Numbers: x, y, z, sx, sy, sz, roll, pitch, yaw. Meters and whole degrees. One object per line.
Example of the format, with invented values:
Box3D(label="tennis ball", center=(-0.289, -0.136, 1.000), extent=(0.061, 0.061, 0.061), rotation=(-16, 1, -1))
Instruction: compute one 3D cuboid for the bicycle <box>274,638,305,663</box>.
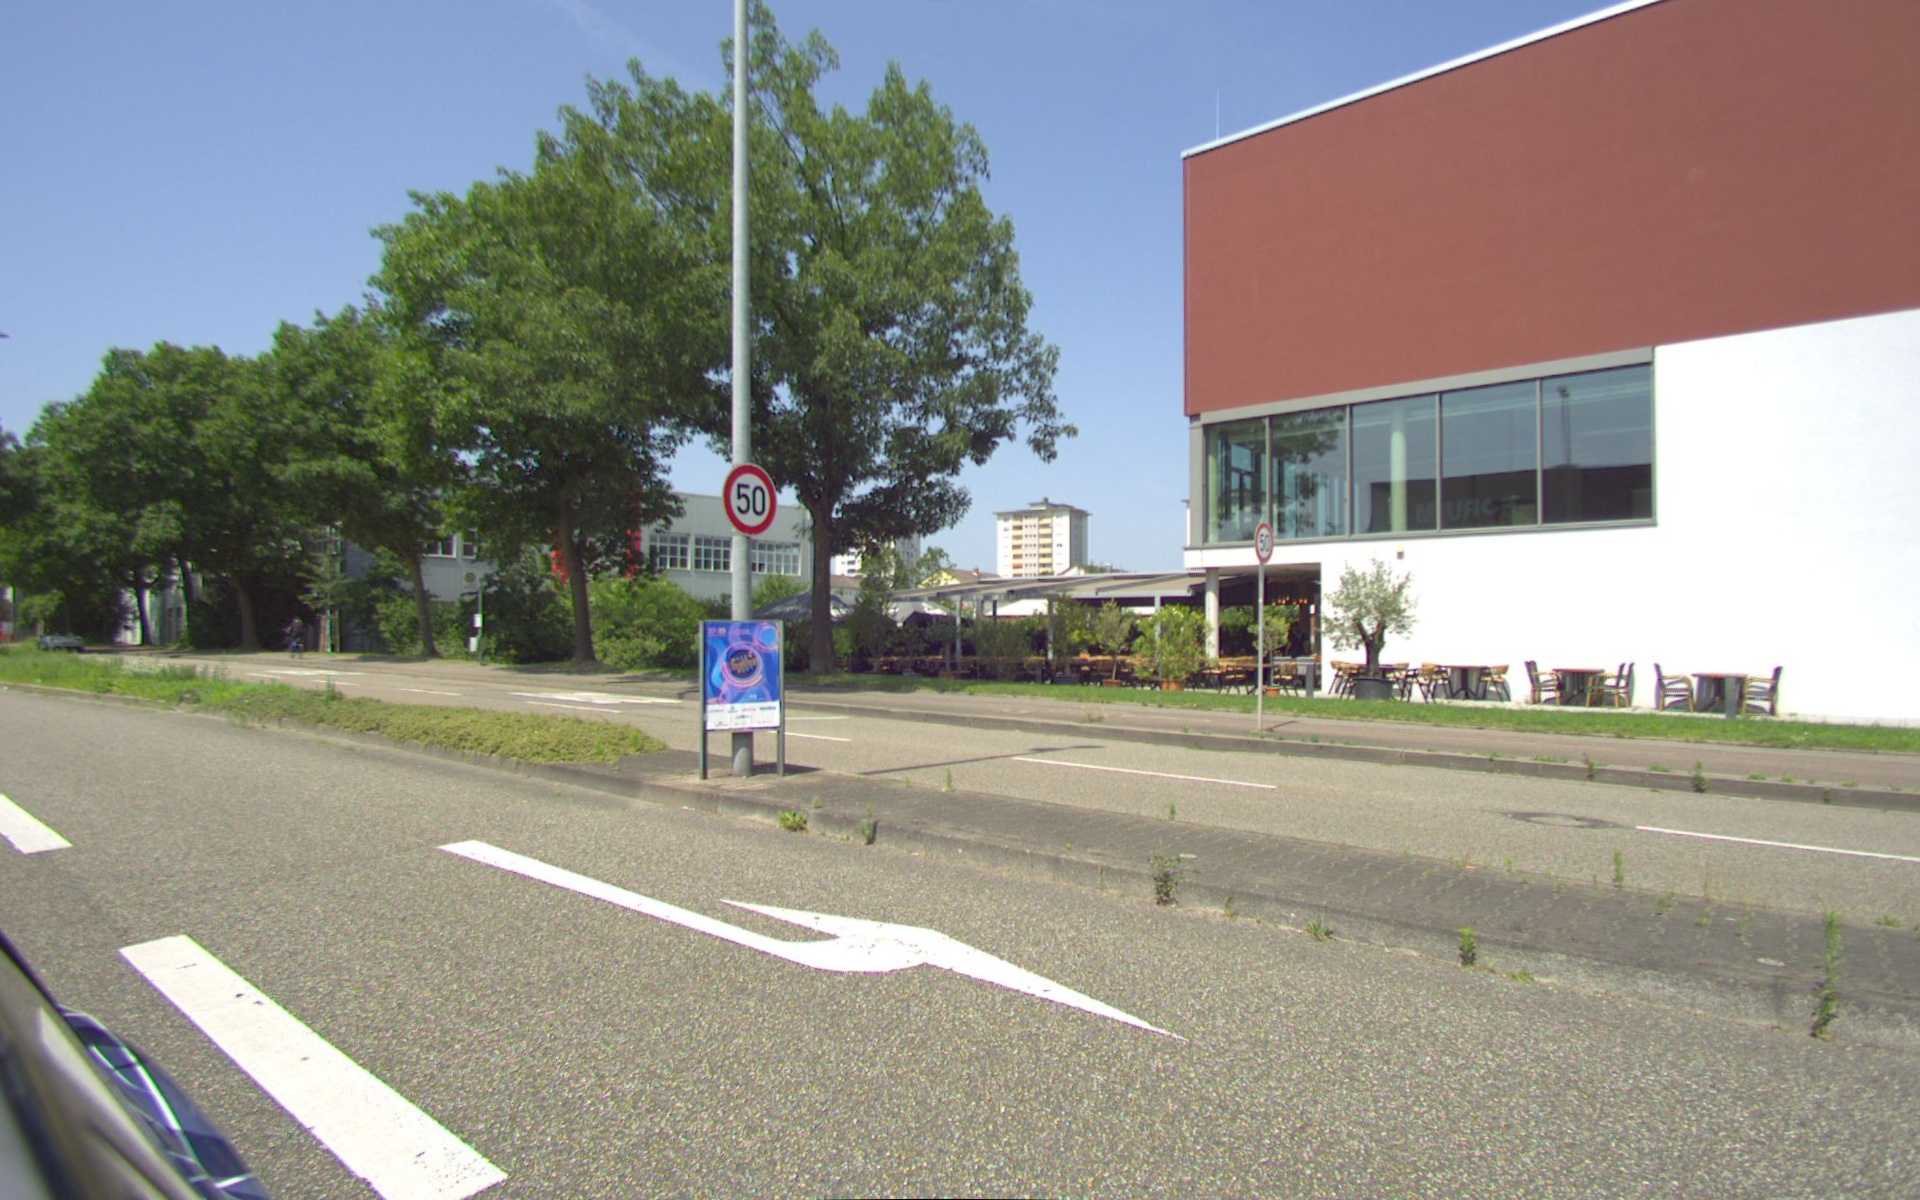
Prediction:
Box3D(label="bicycle", center=(-29.088, 2.189, 43.878), extent=(1.883, 1.059, 0.648), rotation=(-1, -2, 41))

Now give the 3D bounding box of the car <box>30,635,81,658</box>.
Box3D(label="car", center=(-55.421, 2.847, 61.969), extent=(4.298, 1.272, 1.700), rotation=(-1, -4, 40))

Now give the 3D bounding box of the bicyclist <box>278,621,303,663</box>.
Box3D(label="bicyclist", center=(-28.971, 1.812, 43.782), extent=(0.927, 1.783, 0.643), rotation=(-2, -2, 41))
